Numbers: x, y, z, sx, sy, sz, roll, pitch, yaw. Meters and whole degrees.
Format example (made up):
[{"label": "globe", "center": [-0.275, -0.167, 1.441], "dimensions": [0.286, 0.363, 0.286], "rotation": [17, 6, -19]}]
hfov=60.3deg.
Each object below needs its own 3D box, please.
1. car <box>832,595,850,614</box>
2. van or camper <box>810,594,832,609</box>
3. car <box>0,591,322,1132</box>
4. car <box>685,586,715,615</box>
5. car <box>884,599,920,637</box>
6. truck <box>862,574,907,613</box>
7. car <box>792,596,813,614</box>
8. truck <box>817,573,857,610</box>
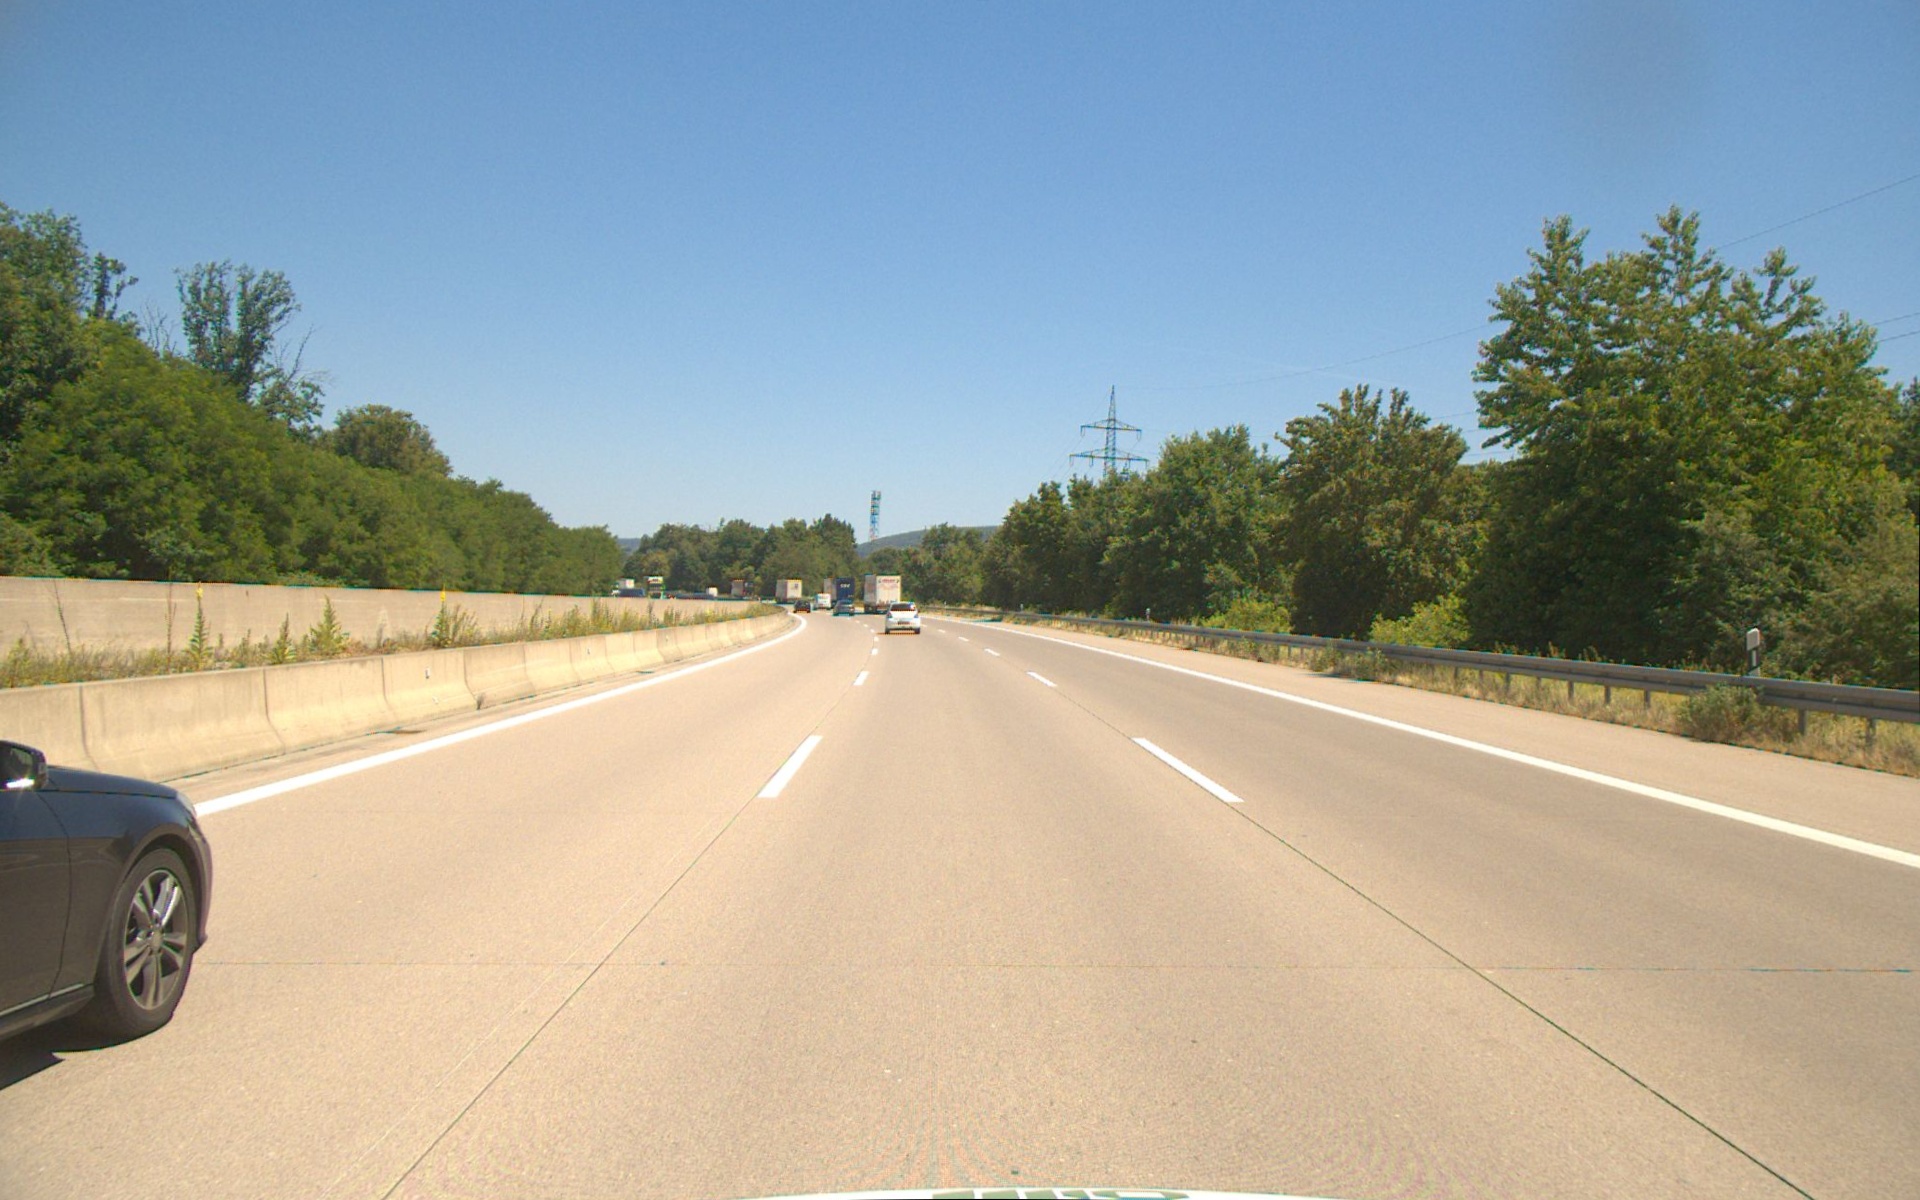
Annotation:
[{"label": "car", "center": [-11.367, 0.456, 158.030], "dimensions": [1.579, 1.755, 3.567], "rotation": [0, 0, -7]}, {"label": "van or camper", "center": [-17.499, 0.207, 208.259], "dimensions": [1.840, 1.870, 3.975], "rotation": [0, 0, -21]}, {"label": "car", "center": [-3.584, 0.724, 4.141], "dimensions": [1.852, 1.499, 5.603], "rotation": [0, 0, -1]}, {"label": "car", "center": [-18.283, 0.027, 116.437], "dimensions": [1.625, 1.956, 4.005], "rotation": [1, 0, -2]}, {"label": "car", "center": [-2.827, 0.862, 80.270], "dimensions": [1.609, 1.690, 3.359], "rotation": [4, 0, -2]}, {"label": "truck", "center": [-8.040, -0.628, 174.618], "dimensions": [3.747, 3.957, 14.130], "rotation": [0, 0, -7]}, {"label": "car", "center": [-17.398, 0.544, 182.970], "dimensions": [1.985, 1.730, 3.993], "rotation": [5, 0, -8]}, {"label": "truck", "center": [-16.840, -1.102, 225.530], "dimensions": [3.838, 4.824, 14.010], "rotation": [0, 0, -11]}]
